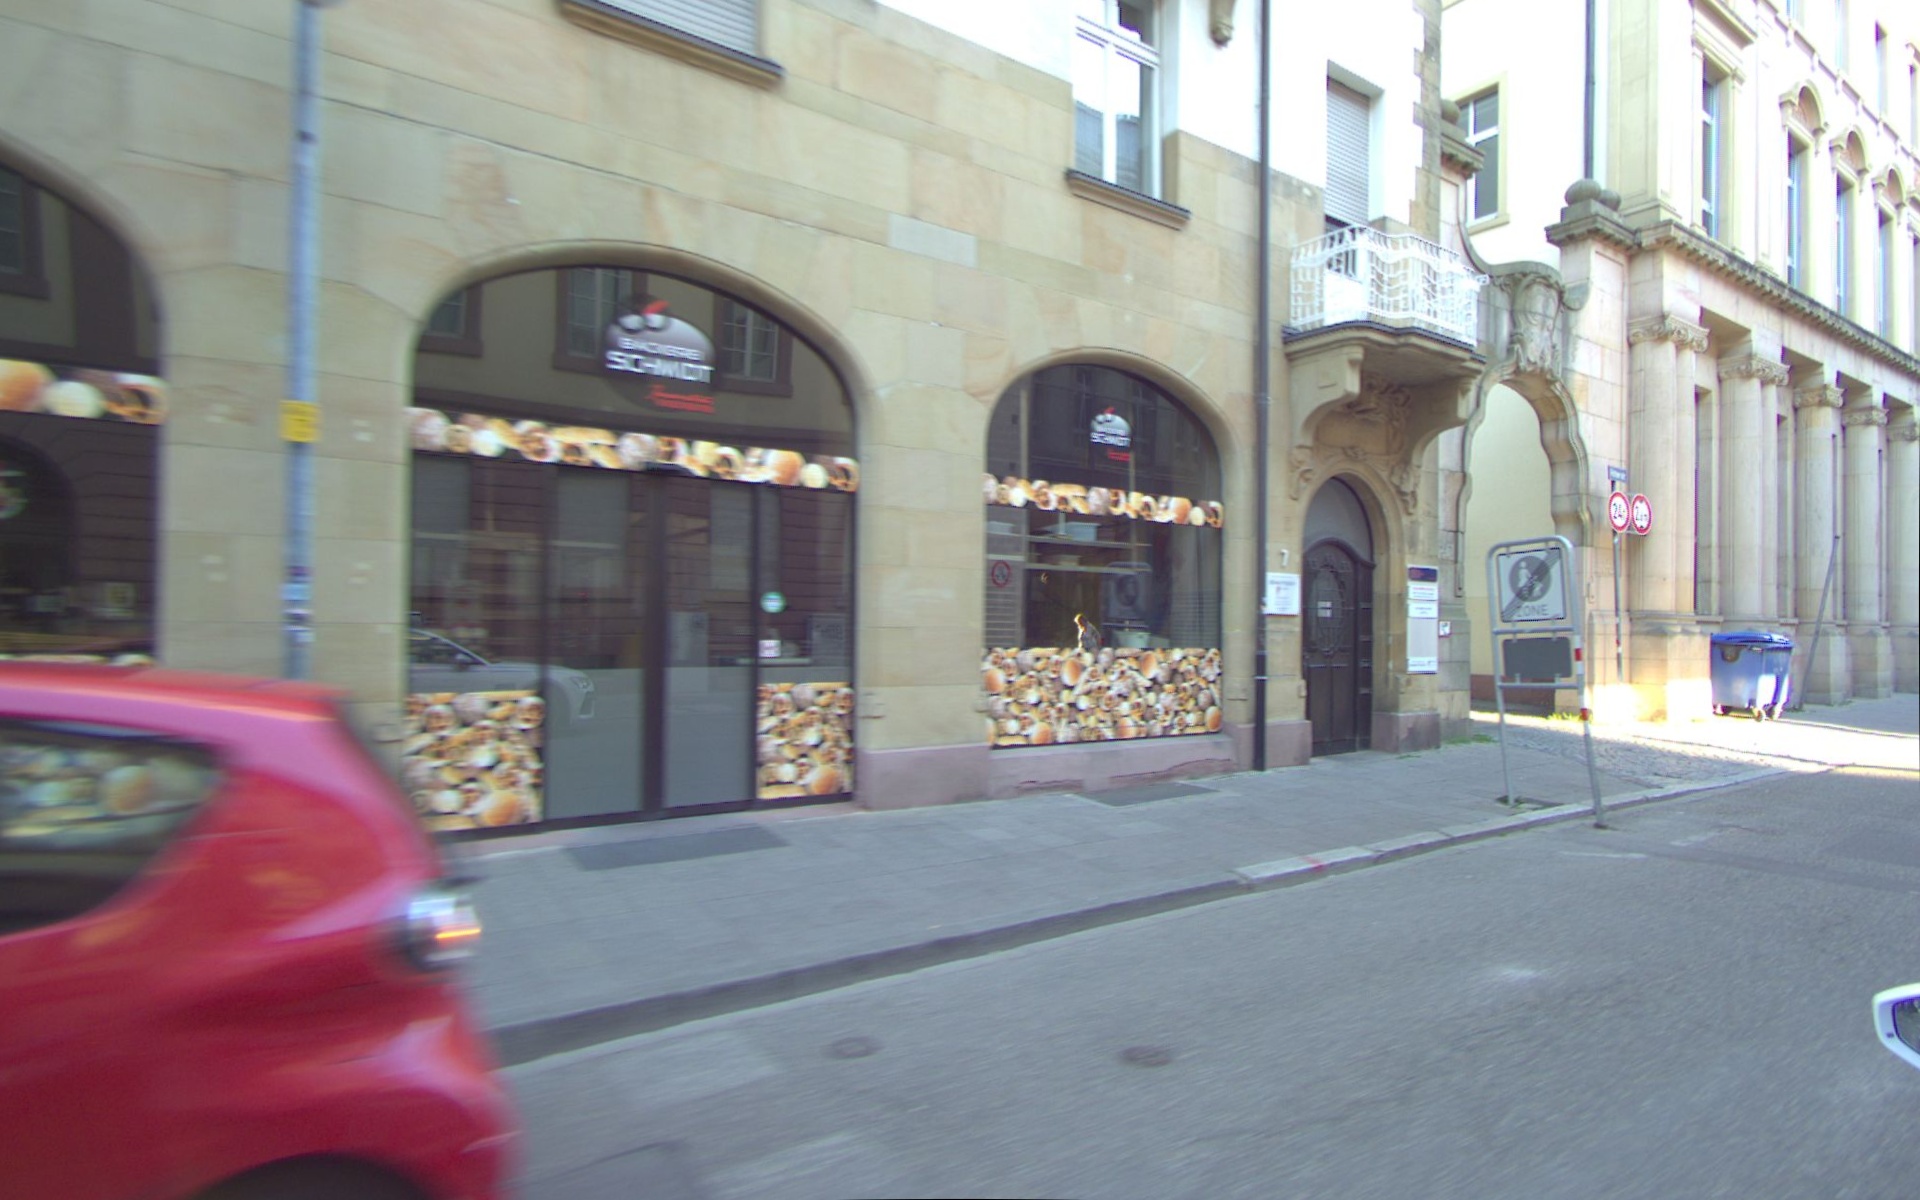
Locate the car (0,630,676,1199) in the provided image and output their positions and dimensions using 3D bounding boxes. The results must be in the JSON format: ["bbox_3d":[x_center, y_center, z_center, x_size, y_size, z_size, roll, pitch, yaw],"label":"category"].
[{"bbox_3d":[-2.638,0.789,1.613,3.891,1.489,1.648,2,-3,-34],"label":"car"}]

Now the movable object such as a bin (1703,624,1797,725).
[{"bbox_3d":[12.610,1.159,16.033,1.278,1.523,0.824,1,-1,-34],"label":"movable object such as a bin"}]
